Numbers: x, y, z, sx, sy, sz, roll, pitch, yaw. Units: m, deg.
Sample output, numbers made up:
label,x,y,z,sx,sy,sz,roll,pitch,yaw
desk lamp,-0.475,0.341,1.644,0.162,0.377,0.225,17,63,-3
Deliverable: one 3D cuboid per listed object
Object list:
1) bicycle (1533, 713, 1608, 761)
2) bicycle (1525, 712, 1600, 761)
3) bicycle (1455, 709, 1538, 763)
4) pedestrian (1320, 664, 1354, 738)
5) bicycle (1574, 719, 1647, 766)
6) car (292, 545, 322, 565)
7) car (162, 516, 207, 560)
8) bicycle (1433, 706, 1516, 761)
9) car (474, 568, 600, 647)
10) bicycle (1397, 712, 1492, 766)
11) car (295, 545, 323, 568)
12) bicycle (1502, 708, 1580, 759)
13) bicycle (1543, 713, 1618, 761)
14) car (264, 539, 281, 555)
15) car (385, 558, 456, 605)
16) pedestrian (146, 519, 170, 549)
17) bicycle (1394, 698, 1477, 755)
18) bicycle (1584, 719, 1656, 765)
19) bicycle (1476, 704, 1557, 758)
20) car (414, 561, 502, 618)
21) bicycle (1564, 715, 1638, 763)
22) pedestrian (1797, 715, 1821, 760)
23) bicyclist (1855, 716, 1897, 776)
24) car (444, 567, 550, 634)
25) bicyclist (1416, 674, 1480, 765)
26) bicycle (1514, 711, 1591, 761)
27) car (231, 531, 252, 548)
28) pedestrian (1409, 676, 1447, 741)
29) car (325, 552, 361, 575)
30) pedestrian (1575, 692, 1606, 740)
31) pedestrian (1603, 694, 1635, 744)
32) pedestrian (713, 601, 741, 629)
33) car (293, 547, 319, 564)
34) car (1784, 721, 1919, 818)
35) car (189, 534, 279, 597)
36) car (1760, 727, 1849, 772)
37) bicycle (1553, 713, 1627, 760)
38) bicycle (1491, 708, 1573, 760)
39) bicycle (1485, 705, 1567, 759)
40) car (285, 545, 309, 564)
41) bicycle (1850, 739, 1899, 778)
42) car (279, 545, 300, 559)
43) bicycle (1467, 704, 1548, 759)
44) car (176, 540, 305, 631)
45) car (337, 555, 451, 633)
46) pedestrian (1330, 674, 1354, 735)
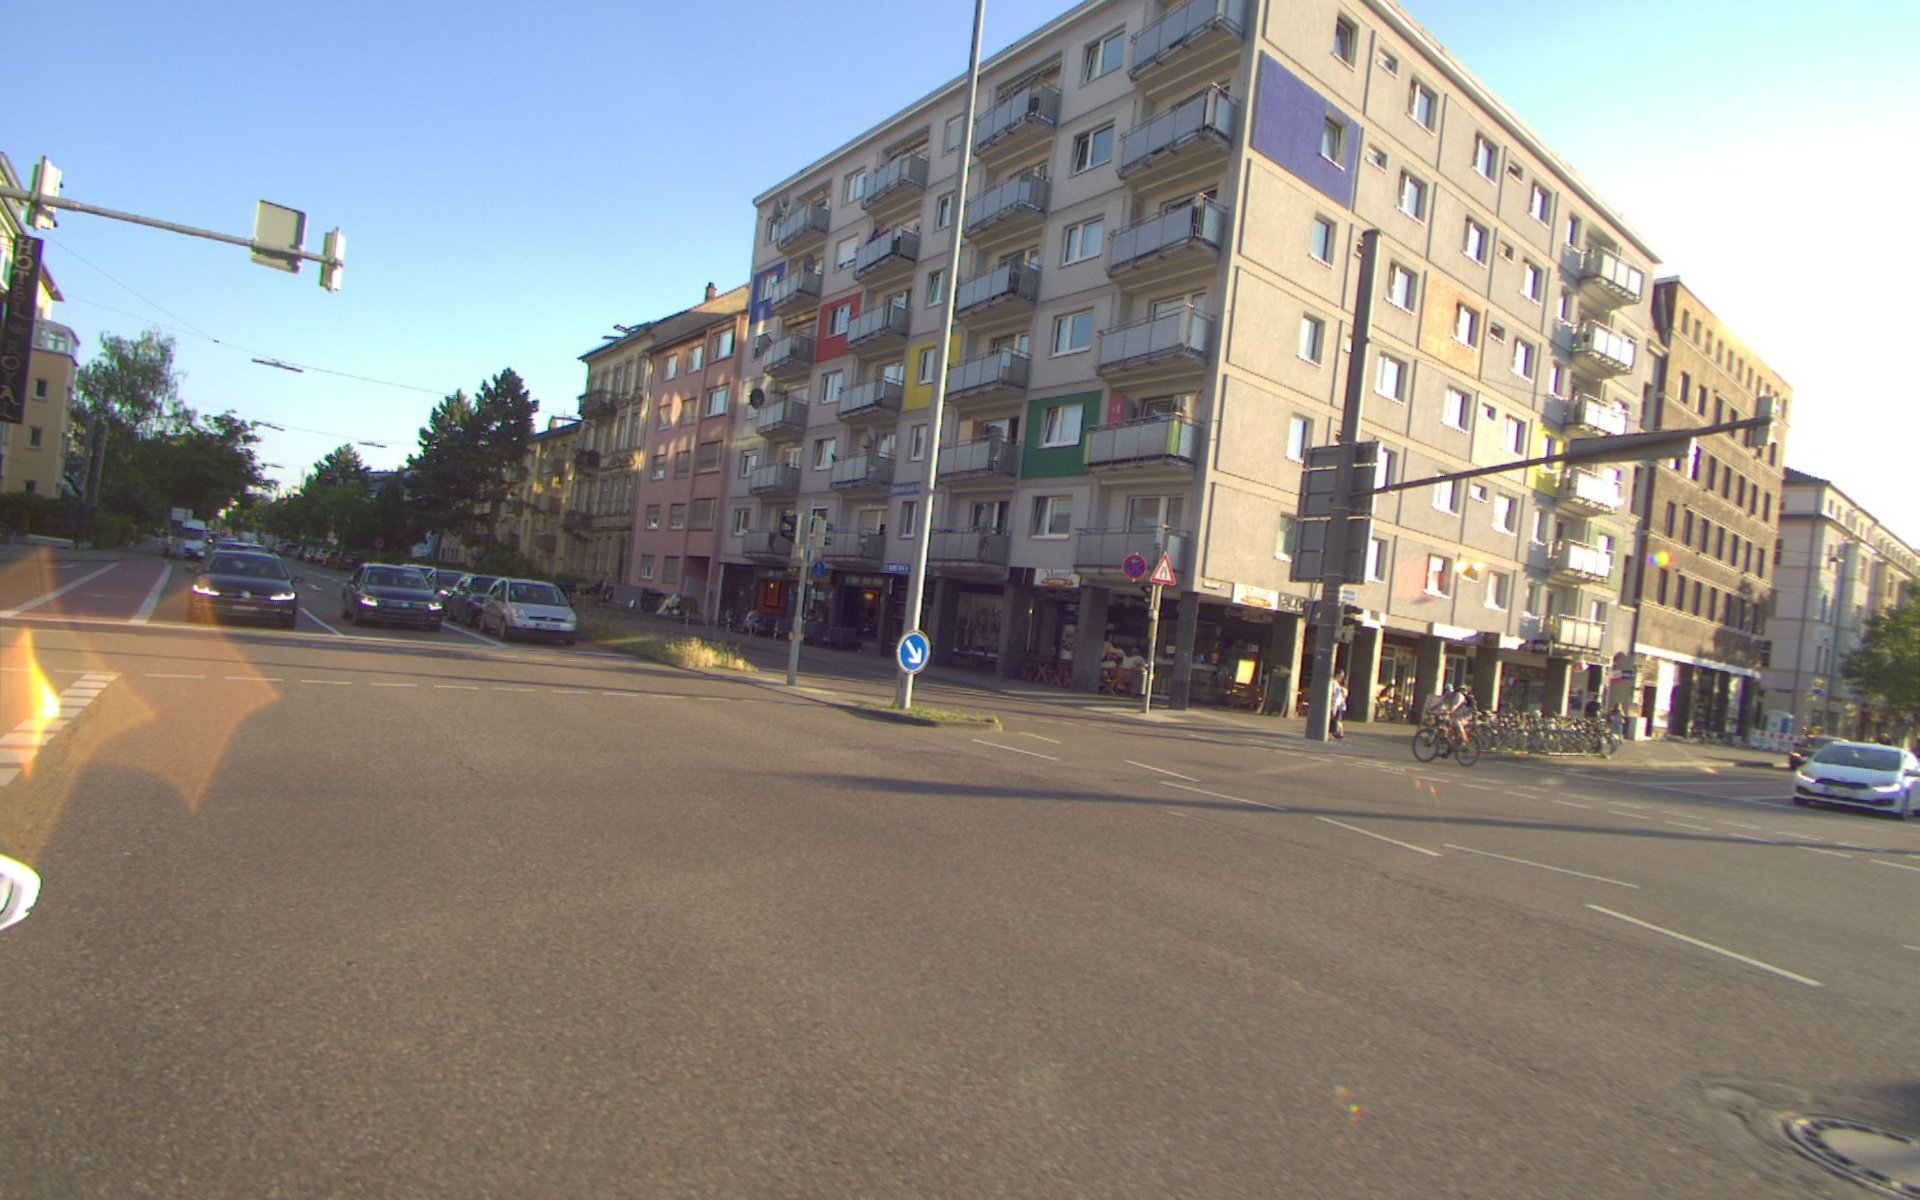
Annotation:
label,x,y,z,sx,sy,sz,roll,pitch,yaw
bicycle,18.223,4.074,30.055,0.563,1.133,1.748,7,0,-37
bicycle,17.767,4.019,29.699,0.547,1.130,1.742,7,0,-37
bicycle,14.246,3.606,26.741,0.594,1.153,1.744,7,0,-37
pedestrian,8.735,2.333,23.332,0.562,1.640,0.603,6,0,21
bicycle,20.495,4.491,31.705,0.742,1.184,1.679,7,0,-36
car,-62.188,-4.273,95.745,1.983,1.536,4.178,7,-1,-37
car,-47.854,-3.821,62.131,1.983,2.352,4.178,7,-1,-37
bicycle,13.584,3.521,26.595,0.603,1.156,1.764,7,0,-38
car,-10.465,0.135,24.715,1.982,1.504,3.963,7,-1,-35
bicycle,10.137,2.908,21.023,1.923,0.892,0.701,8,-1,-27
car,-67.841,-4.548,104.767,1.983,2.021,4.178,7,-1,-37
bicycle,16.736,3.824,29.008,0.600,1.173,1.763,7,0,-38
bicycle,18.741,4.129,30.406,0.629,1.138,1.715,8,-1,-36
car,-111.163,-8.556,162.590,1.983,2.405,3.960,7,-1,-37
car,-21.571,-0.775,40.131,1.982,1.504,3.963,7,-1,-35
pedestrian,-59.096,-4.850,74.105,0.931,2.038,1.022,7,0,39
bicycle,12.588,3.337,26.681,0.633,1.223,1.781,7,0,-39
bicycle,21.073,4.529,32.143,0.690,1.158,1.679,7,0,-36
bicycle,15.254,3.589,27.597,0.563,1.196,1.756,7,0,-38
car,-16.707,-0.370,33.371,1.982,1.504,3.963,7,-1,-35
bicycle,19.891,4.302,31.251,0.742,1.193,1.679,7,0,-36
pedestrian,42.537,6.889,50.408,0.786,2.205,0.597,6,0,-39
bicyclist,33.179,5.298,36.434,0.915,2.038,0.791,6,0,-37
car,-13.232,-0.027,28.627,1.982,1.504,3.963,7,-1,-35
bicyclist,10.176,2.480,21.003,0.782,1.764,0.699,7,0,-27
bicycle,17.276,3.957,29.361,0.600,1.149,1.759,7,0,-37
car,-120.540,-10.189,168.654,2.603,2.405,5.203,7,-1,-37
pedestrian,12.996,3.005,27.927,0.538,1.705,0.579,6,0,-17
car,-49.798,-2.977,81.175,1.983,1.536,4.178,7,-1,-37
pedestrian,25.670,4.707,40.958,0.818,1.835,0.717,6,0,41
pedestrian,26.302,4.751,40.146,0.778,1.864,0.730,6,0,43
pedestrian,-10.801,0.699,46.581,0.781,1.184,0.856,6,0,44
car,-71.993,-4.900,110.658,1.983,1.536,4.178,7,-1,-37
car,19.217,3.572,21.387,3.967,1.637,1.677,7,-1,-38
car,-21.969,-1.072,30.455,1.983,1.550,3.960,7,-1,-36
car,34.895,6.186,41.551,3.964,1.437,1.808,7,-1,-35
bicycle,19.286,4.167,30.828,0.699,1.167,1.679,7,0,-36
bicycle,16.222,3.793,28.566,0.635,1.175,1.817,7,0,-38
bicycle,15.749,3.658,28.008,0.646,1.205,1.775,7,0,-38
car,-79.221,-5.441,120.221,1.983,1.856,4.178,7,-1,-37
bicycle,33.106,5.742,36.407,2.391,1.215,0.807,7,-1,-37
car,-86.106,-6.201,129.177,1.983,1.536,4.178,7,-1,-37
bicycle,14.795,3.551,27.241,0.536,1.182,1.753,7,0,-38
car,-14.715,-0.352,20.697,1.869,1.504,3.963,7,-1,-35
car,-13.862,-0.184,24.524,1.982,1.504,3.963,7,-1,-35
pedestrian,9.059,2.471,23.855,0.375,1.400,0.395,6,0,24
